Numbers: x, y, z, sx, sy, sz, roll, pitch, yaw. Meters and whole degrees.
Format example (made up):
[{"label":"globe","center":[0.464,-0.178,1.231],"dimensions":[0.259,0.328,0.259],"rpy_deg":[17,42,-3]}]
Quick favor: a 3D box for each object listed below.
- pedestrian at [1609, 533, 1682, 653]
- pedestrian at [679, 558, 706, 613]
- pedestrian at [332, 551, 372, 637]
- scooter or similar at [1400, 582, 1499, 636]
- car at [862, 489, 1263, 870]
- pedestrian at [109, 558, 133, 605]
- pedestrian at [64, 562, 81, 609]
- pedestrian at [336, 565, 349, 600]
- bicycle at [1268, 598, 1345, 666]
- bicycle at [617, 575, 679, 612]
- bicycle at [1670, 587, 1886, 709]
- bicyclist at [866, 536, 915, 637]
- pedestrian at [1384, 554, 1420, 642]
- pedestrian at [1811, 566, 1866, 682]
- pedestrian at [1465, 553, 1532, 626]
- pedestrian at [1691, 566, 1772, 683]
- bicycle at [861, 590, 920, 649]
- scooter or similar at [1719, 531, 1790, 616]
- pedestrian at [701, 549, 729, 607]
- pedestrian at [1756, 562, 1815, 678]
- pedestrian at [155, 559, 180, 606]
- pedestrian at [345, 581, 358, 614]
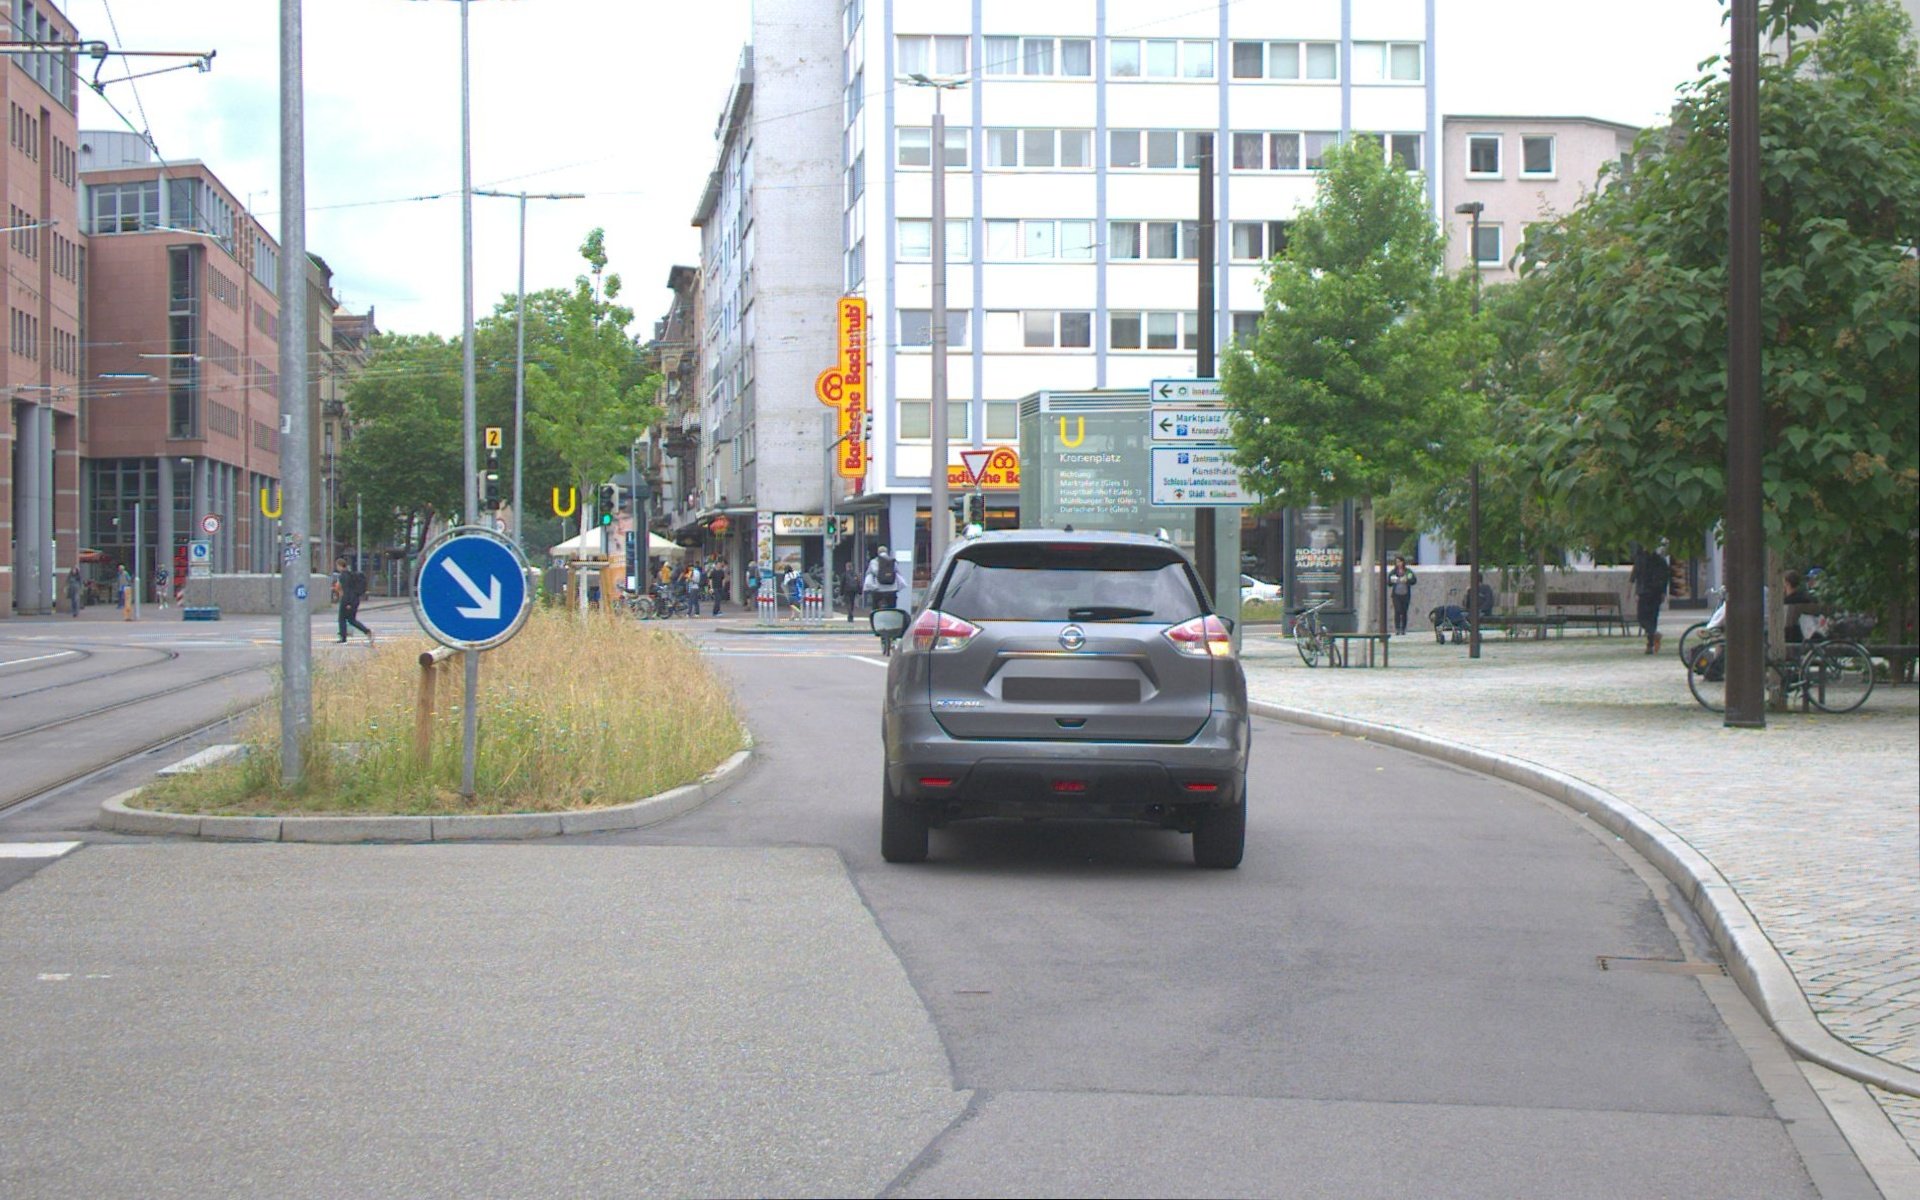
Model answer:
[{"label":"pedestrian","center":[10.476,-0.105,52.571],"dimensions":[0.713,1.796,1.078],"rpy_deg":[-3,0,-7]},{"label":"pedestrian","center":[-8.502,-0.473,109.253],"dimensions":[0.732,1.740,0.663],"rpy_deg":[1,0,-14]},{"label":"pedestrian","center":[-12.095,-0.108,68.383],"dimensions":[0.743,1.678,0.799],"rpy_deg":[2,-1,-10]},{"label":"scooter or similar","center":[8.888,0.164,62.453],"dimensions":[1.590,0.945,0.723],"rpy_deg":[-2,0,32]},{"label":"car","center":[0.456,0.414,18.563],"dimensions":[1.863,1.769,4.567],"rpy_deg":[-1,-1,-1]},{"label":"pedestrian","center":[-32.758,-0.716,134.205],"dimensions":[0.732,1.835,0.702],"rpy_deg":[1,0,-31]},{"label":"pedestrian","center":[-29.072,-0.490,112.632],"dimensions":[0.449,1.527,0.522],"rpy_deg":[1,0,-24]},{"label":"pedestrian","center":[-30.296,-0.875,168.665],"dimensions":[0.600,1.708,0.656],"rpy_deg":[1,0,-13]},{"label":"bicycle","center":[5.141,0.460,50.932],"dimensions":[0.658,0.975,1.752],"rpy_deg":[0,0,22]},{"label":"bicycle","center":[-9.933,-0.211,109.523],"dimensions":[1.867,1.168,0.531],"rpy_deg":[1,0,-20]},{"label":"bicycle","center":[7.797,0.451,32.818],"dimensions":[1.914,1.119,0.645],"rpy_deg":[1,0,5]},{"label":"bicyclist","center":[-1.266,-0.245,62.370],"dimensions":[0.834,1.806,0.878],"rpy_deg":[1,0,-4]},{"label":"pedestrian","center":[8.998,-0.043,69.975],"dimensions":[0.671,1.755,0.641],"rpy_deg":[1,0,9]},{"label":"pedestrian","center":[10.566,0.282,41.373],"dimensions":[0.543,1.361,1.279],"rpy_deg":[1,0,11]},{"label":"pedestrian","center":[9.744,-0.192,62.211],"dimensions":[1.044,1.292,0.733],"rpy_deg":[-2,0,-1]},{"label":"pedestrian","center":[9.115,0.283,40.645],"dimensions":[0.628,1.361,0.688],"rpy_deg":[1,0,-25]},{"label":"bicycle","center":[-1.273,0.345,62.277],"dimensions":[0.901,1.041,3.278],"rpy_deg":[0,0,-4]},{"label":"scooter or similar","center":[17.242,-0.574,74.685],"dimensions":[1.084,1.800,2.274],"rpy_deg":[-1,1,2]},{"label":"pedestrian","center":[-7.892,-0.714,110.842],"dimensions":[0.712,1.826,1.017],"rpy_deg":[1,0,-14]},{"label":"pedestrian","center":[9.857,0.235,41.074],"dimensions":[0.628,1.361,0.919],"rpy_deg":[1,0,11]},{"label":"pedestrian","center":[-30.987,-0.687,134.380],"dimensions":[0.732,1.835,0.702],"rpy_deg":[1,0,-33]},{"label":"pedestrian","center":[-31.665,-0.150,178.844],"dimensions":[0.600,1.708,0.656],"rpy_deg":[1,0,-13]}]
